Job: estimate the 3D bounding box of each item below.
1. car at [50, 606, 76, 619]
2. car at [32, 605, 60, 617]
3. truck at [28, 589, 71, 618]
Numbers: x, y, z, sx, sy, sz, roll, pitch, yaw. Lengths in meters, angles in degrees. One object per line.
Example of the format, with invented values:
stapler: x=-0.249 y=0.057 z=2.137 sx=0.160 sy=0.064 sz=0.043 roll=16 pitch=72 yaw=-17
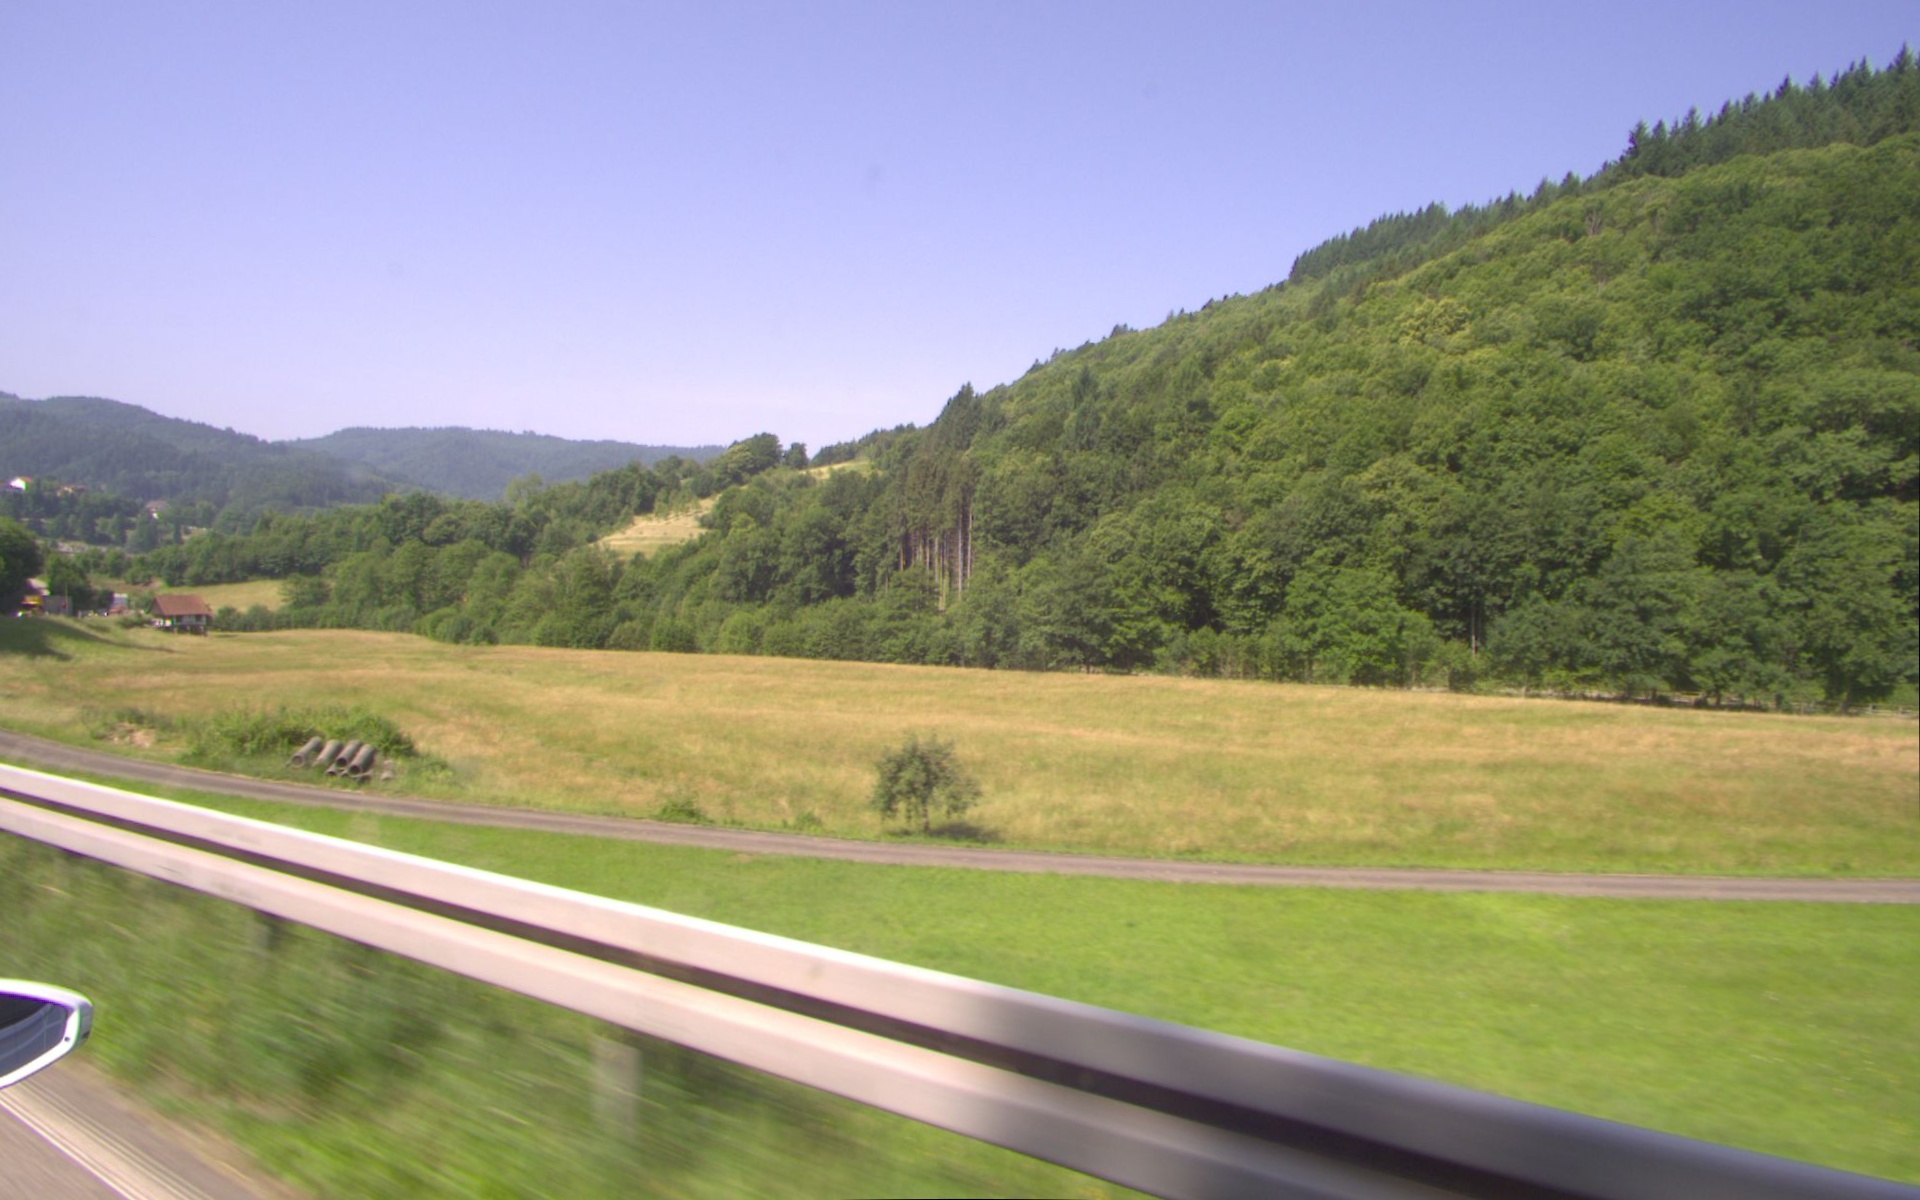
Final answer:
car: x=-142.964 y=2.046 z=159.647 sx=1.969 sy=1.950 sz=3.985 roll=3 pitch=-2 yaw=-25
car: x=-138.253 y=1.679 z=151.492 sx=1.884 sy=1.503 sz=3.986 roll=6 pitch=-4 yaw=-25
truck: x=-149.371 y=0.615 z=164.366 sx=3.149 sy=4.451 sz=6.548 roll=4 pitch=-2 yaw=-24
